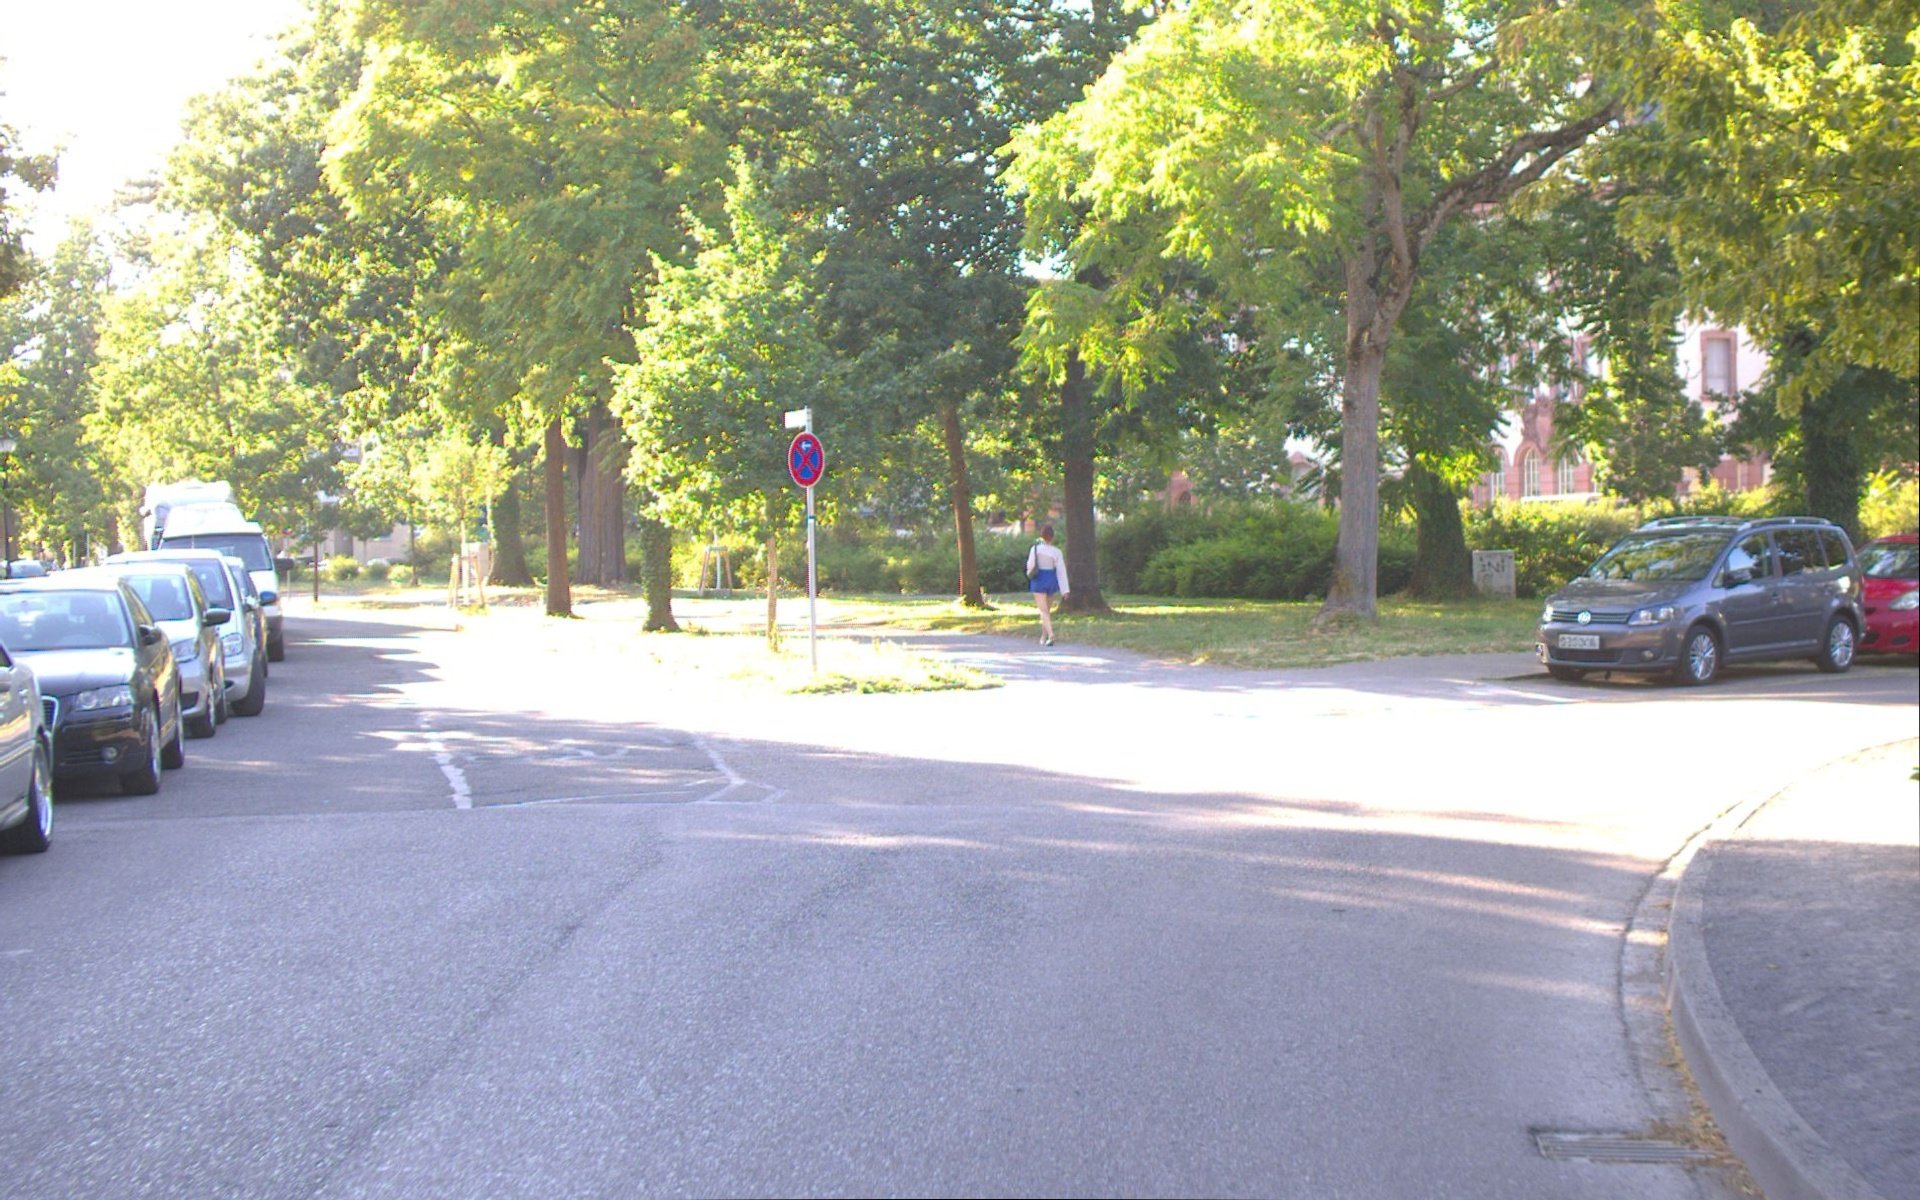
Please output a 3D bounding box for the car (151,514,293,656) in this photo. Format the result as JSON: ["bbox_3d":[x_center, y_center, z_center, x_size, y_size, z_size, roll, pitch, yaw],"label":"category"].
[{"bbox_3d":[-10.666,-0.248,49.932,1.850,1.939,4.842,-1,1,-11],"label":"car"}]

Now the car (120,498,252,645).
[{"bbox_3d":[-13.075,-0.504,57.911,1.850,2.347,5.188,-1,1,-16],"label":"car"}]

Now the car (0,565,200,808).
[{"bbox_3d":[-6.258,0.531,23.306,1.824,1.411,4.496,-3,1,-9],"label":"car"}]

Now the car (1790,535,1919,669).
[{"bbox_3d":[11.035,-0.013,39.303,3.418,1.418,1.391,-2,3,-45],"label":"car"}]

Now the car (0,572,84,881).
[{"bbox_3d":[-5.454,0.646,16.391,1.779,1.411,4.499,-3,1,-6],"label":"car"}]

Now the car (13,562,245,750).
[{"bbox_3d":[-7.122,0.431,29.726,1.612,1.435,3.607,-2,1,-9],"label":"car"}]

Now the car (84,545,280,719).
[{"bbox_3d":[-7.549,0.262,33.613,1.704,1.573,3.698,-1,1,-11],"label":"car"}]

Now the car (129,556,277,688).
[{"bbox_3d":[-9.131,0.227,41.652,1.615,1.496,3.698,-1,1,-11],"label":"car"}]

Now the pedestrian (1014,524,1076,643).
[{"bbox_3d":[1.140,-0.227,46.221,0.773,1.569,0.768,-1,1,-1],"label":"pedestrian"}]

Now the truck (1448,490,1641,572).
[{"bbox_3d":[21.942,-2.594,129.521,2.604,3.019,8.009,-1,1,-30],"label":"truck"}]

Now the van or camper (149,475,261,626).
[{"bbox_3d":[-15.333,-1.017,69.684,2.089,2.898,6.334,-1,1,-13],"label":"van or camper"}]

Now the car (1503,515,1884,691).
[{"bbox_3d":[7.703,-0.022,35.884,4.309,1.670,1.806,-2,3,-45],"label":"car"}]
